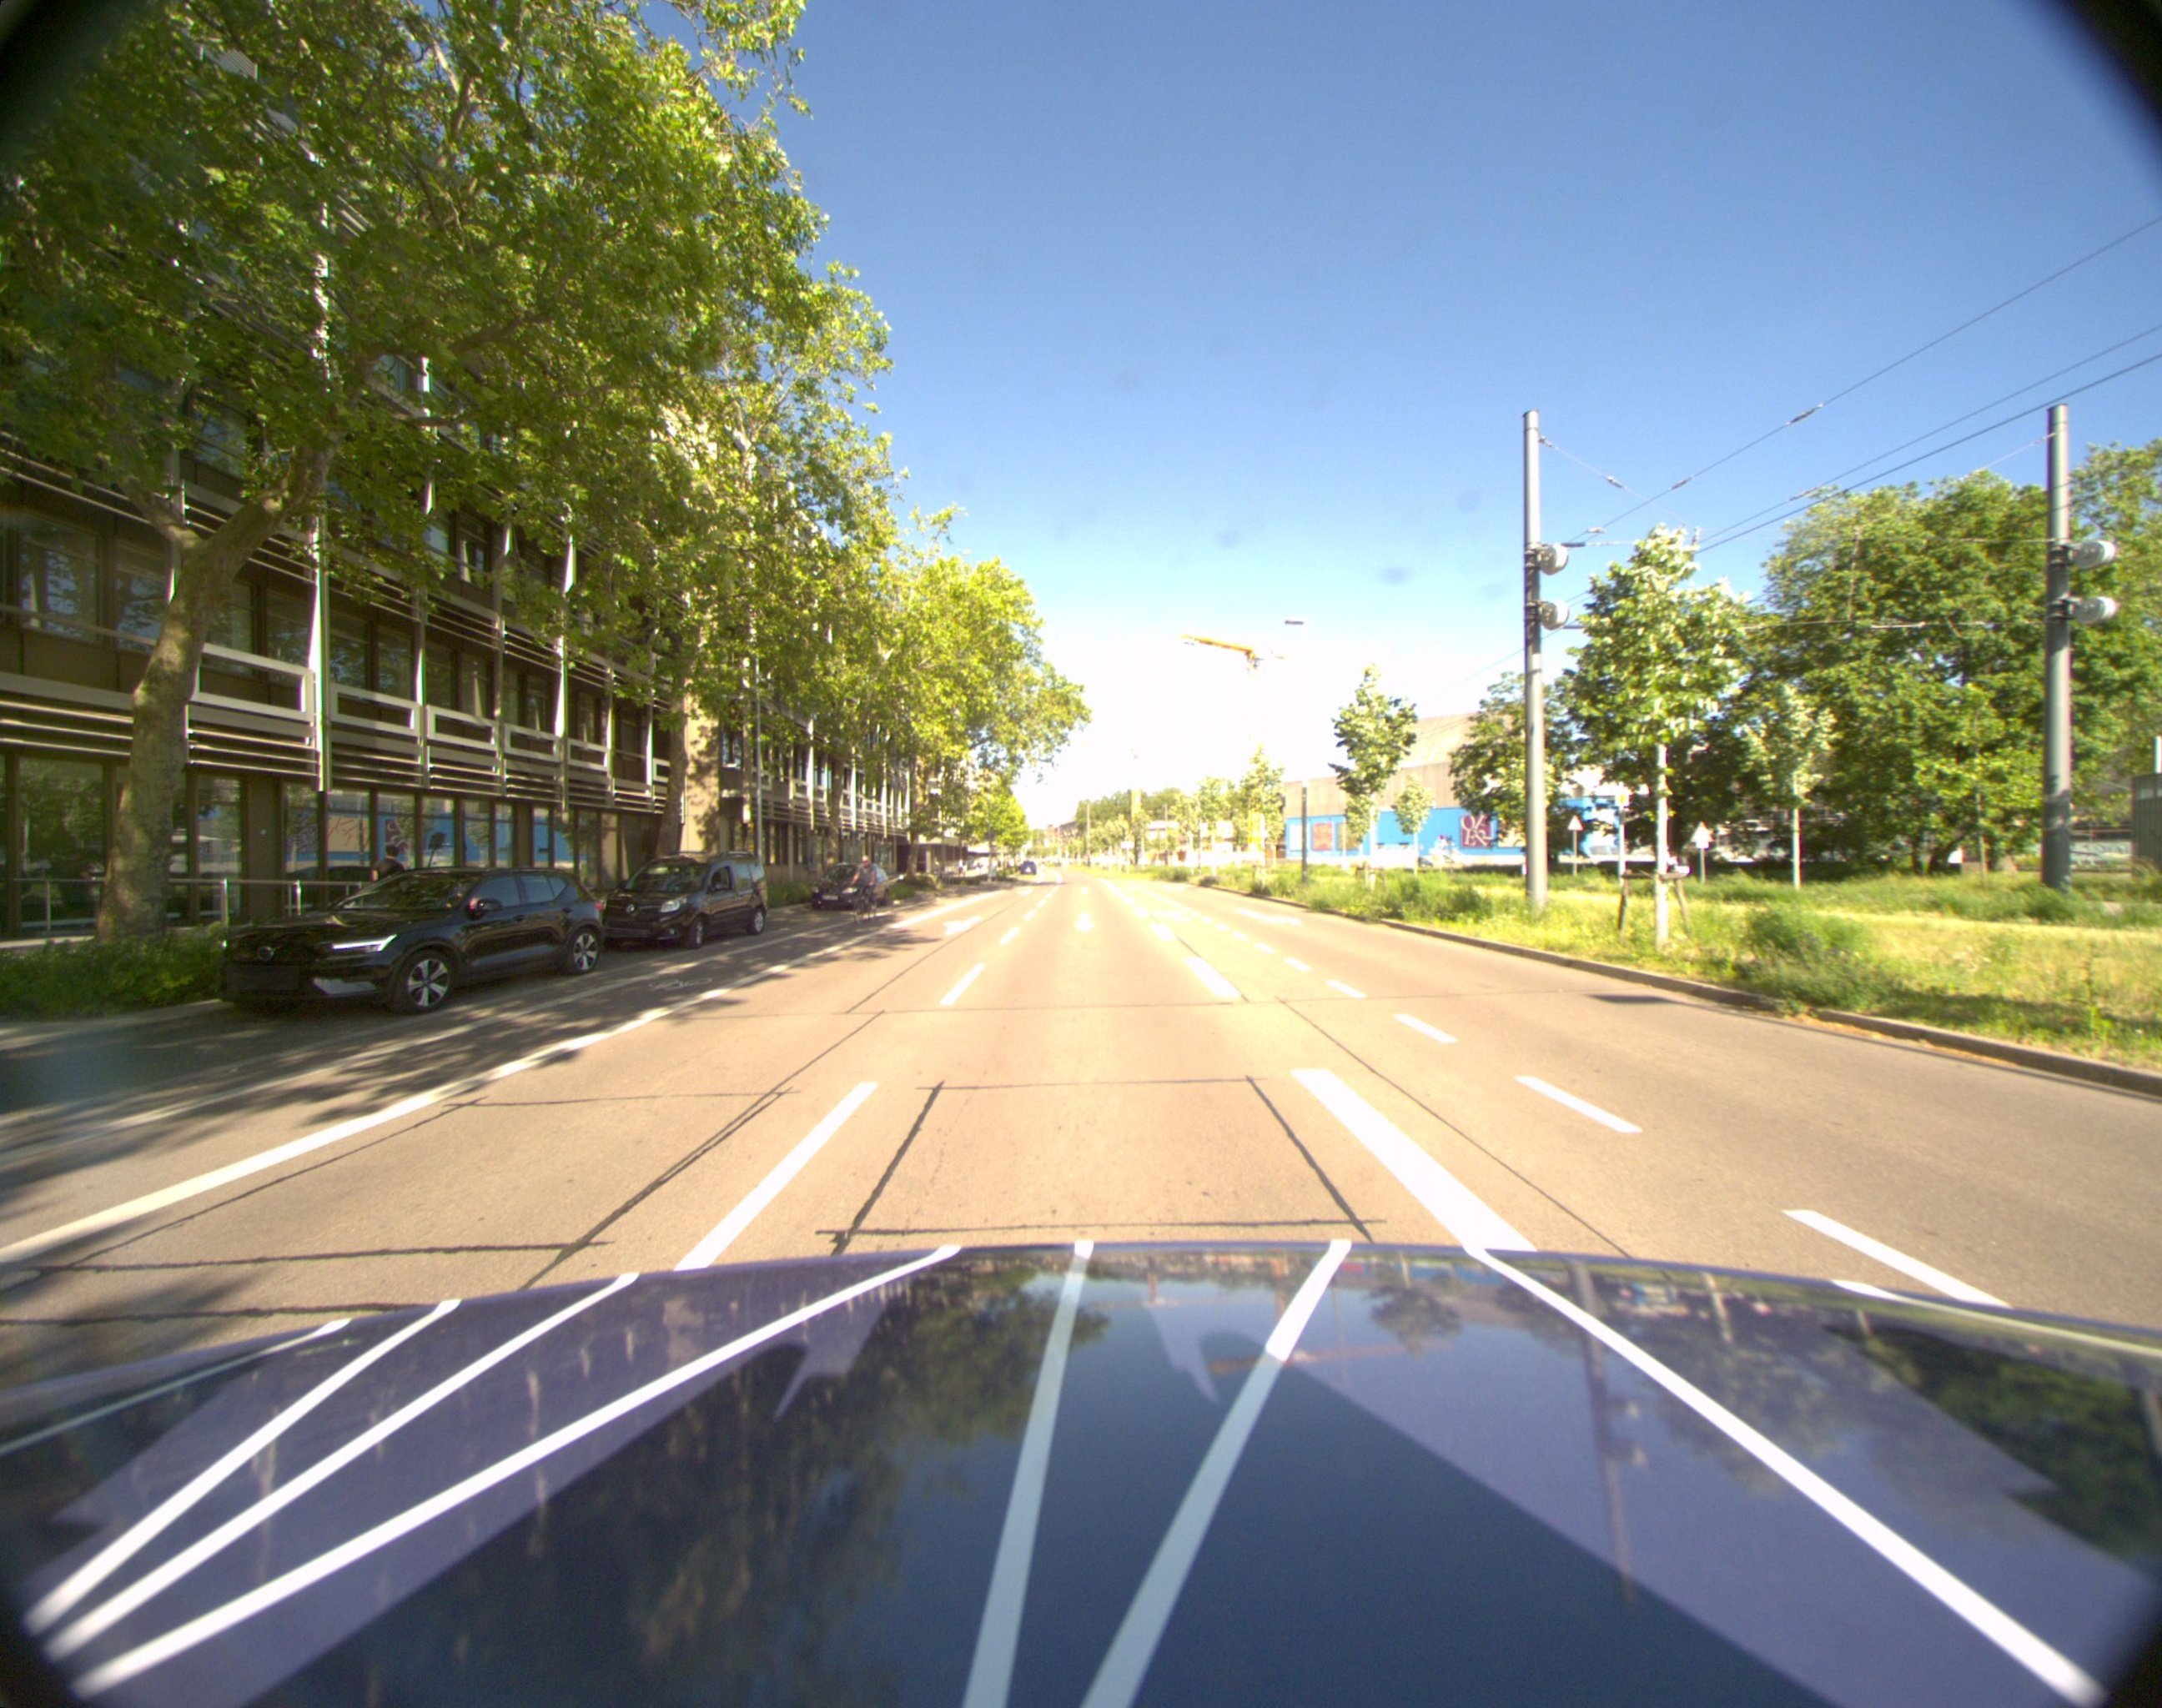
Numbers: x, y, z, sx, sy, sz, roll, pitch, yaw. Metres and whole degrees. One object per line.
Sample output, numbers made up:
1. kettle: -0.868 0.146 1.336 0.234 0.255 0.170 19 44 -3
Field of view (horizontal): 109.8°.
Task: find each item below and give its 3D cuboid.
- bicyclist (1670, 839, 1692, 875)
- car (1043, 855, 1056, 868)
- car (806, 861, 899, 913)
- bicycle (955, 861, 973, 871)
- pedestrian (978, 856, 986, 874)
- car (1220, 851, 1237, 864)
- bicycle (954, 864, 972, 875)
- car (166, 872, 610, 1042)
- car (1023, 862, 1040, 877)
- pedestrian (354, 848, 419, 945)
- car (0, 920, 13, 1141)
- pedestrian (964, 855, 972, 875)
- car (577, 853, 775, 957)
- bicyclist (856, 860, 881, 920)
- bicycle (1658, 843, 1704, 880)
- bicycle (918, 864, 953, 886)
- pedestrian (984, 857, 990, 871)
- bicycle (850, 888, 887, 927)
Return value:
1. bicyclist: 24.357 0.127 30.862 0.395 1.446 0.539 -3 1 -1
2. car: -5.095 1.207 122.033 1.822 1.783 3.999 -3 1 1
3. car: -7.934 1.078 26.822 1.708 1.633 4.637 1 0 2
4. bicycle: -12.647 1.284 82.465 1.862 1.005 0.427 1 1 1
5. pedestrian: -9.429 1.078 72.416 0.649 1.718 0.803 -1 0 0
6. car: 22.889 0.564 117.907 1.802 1.787 3.999 -3 1 1
7. bicycle: -12.700 1.639 81.591 1.862 1.091 0.427 1 1 1
8. car: -8.144 1.067 9.600 1.708 1.554 4.192 -1 0 1
9. car: -5.828 1.794 90.270 1.854 1.647 4.847 1 0 -2
10. pedestrian: -14.054 0.845 15.390 0.678 1.905 0.557 -3 1 1
11. car: -8.194 1.198 2.897 1.708 1.484 4.600 -1 0 1
12. pedestrian: -9.824 0.946 66.043 0.512 1.691 0.774 -1 0 0
13. car: -7.923 0.903 15.383 1.708 1.779 4.192 1 0 1
14. bicyclist: -5.730 0.955 20.514 0.514 1.592 0.536 -1 1 -4
15. bicycle: 24.370 0.307 30.912 0.361 1.447 1.914 -1 0 1
16. bicycle: -8.641 1.252 45.207 1.942 1.229 0.579 1 0 -3
17. pedestrian: -9.903 1.078 80.366 0.512 1.466 0.736 -1 0 0
18. bicycle: -5.706 1.411 20.465 0.499 0.900 2.196 -2 0 -4
